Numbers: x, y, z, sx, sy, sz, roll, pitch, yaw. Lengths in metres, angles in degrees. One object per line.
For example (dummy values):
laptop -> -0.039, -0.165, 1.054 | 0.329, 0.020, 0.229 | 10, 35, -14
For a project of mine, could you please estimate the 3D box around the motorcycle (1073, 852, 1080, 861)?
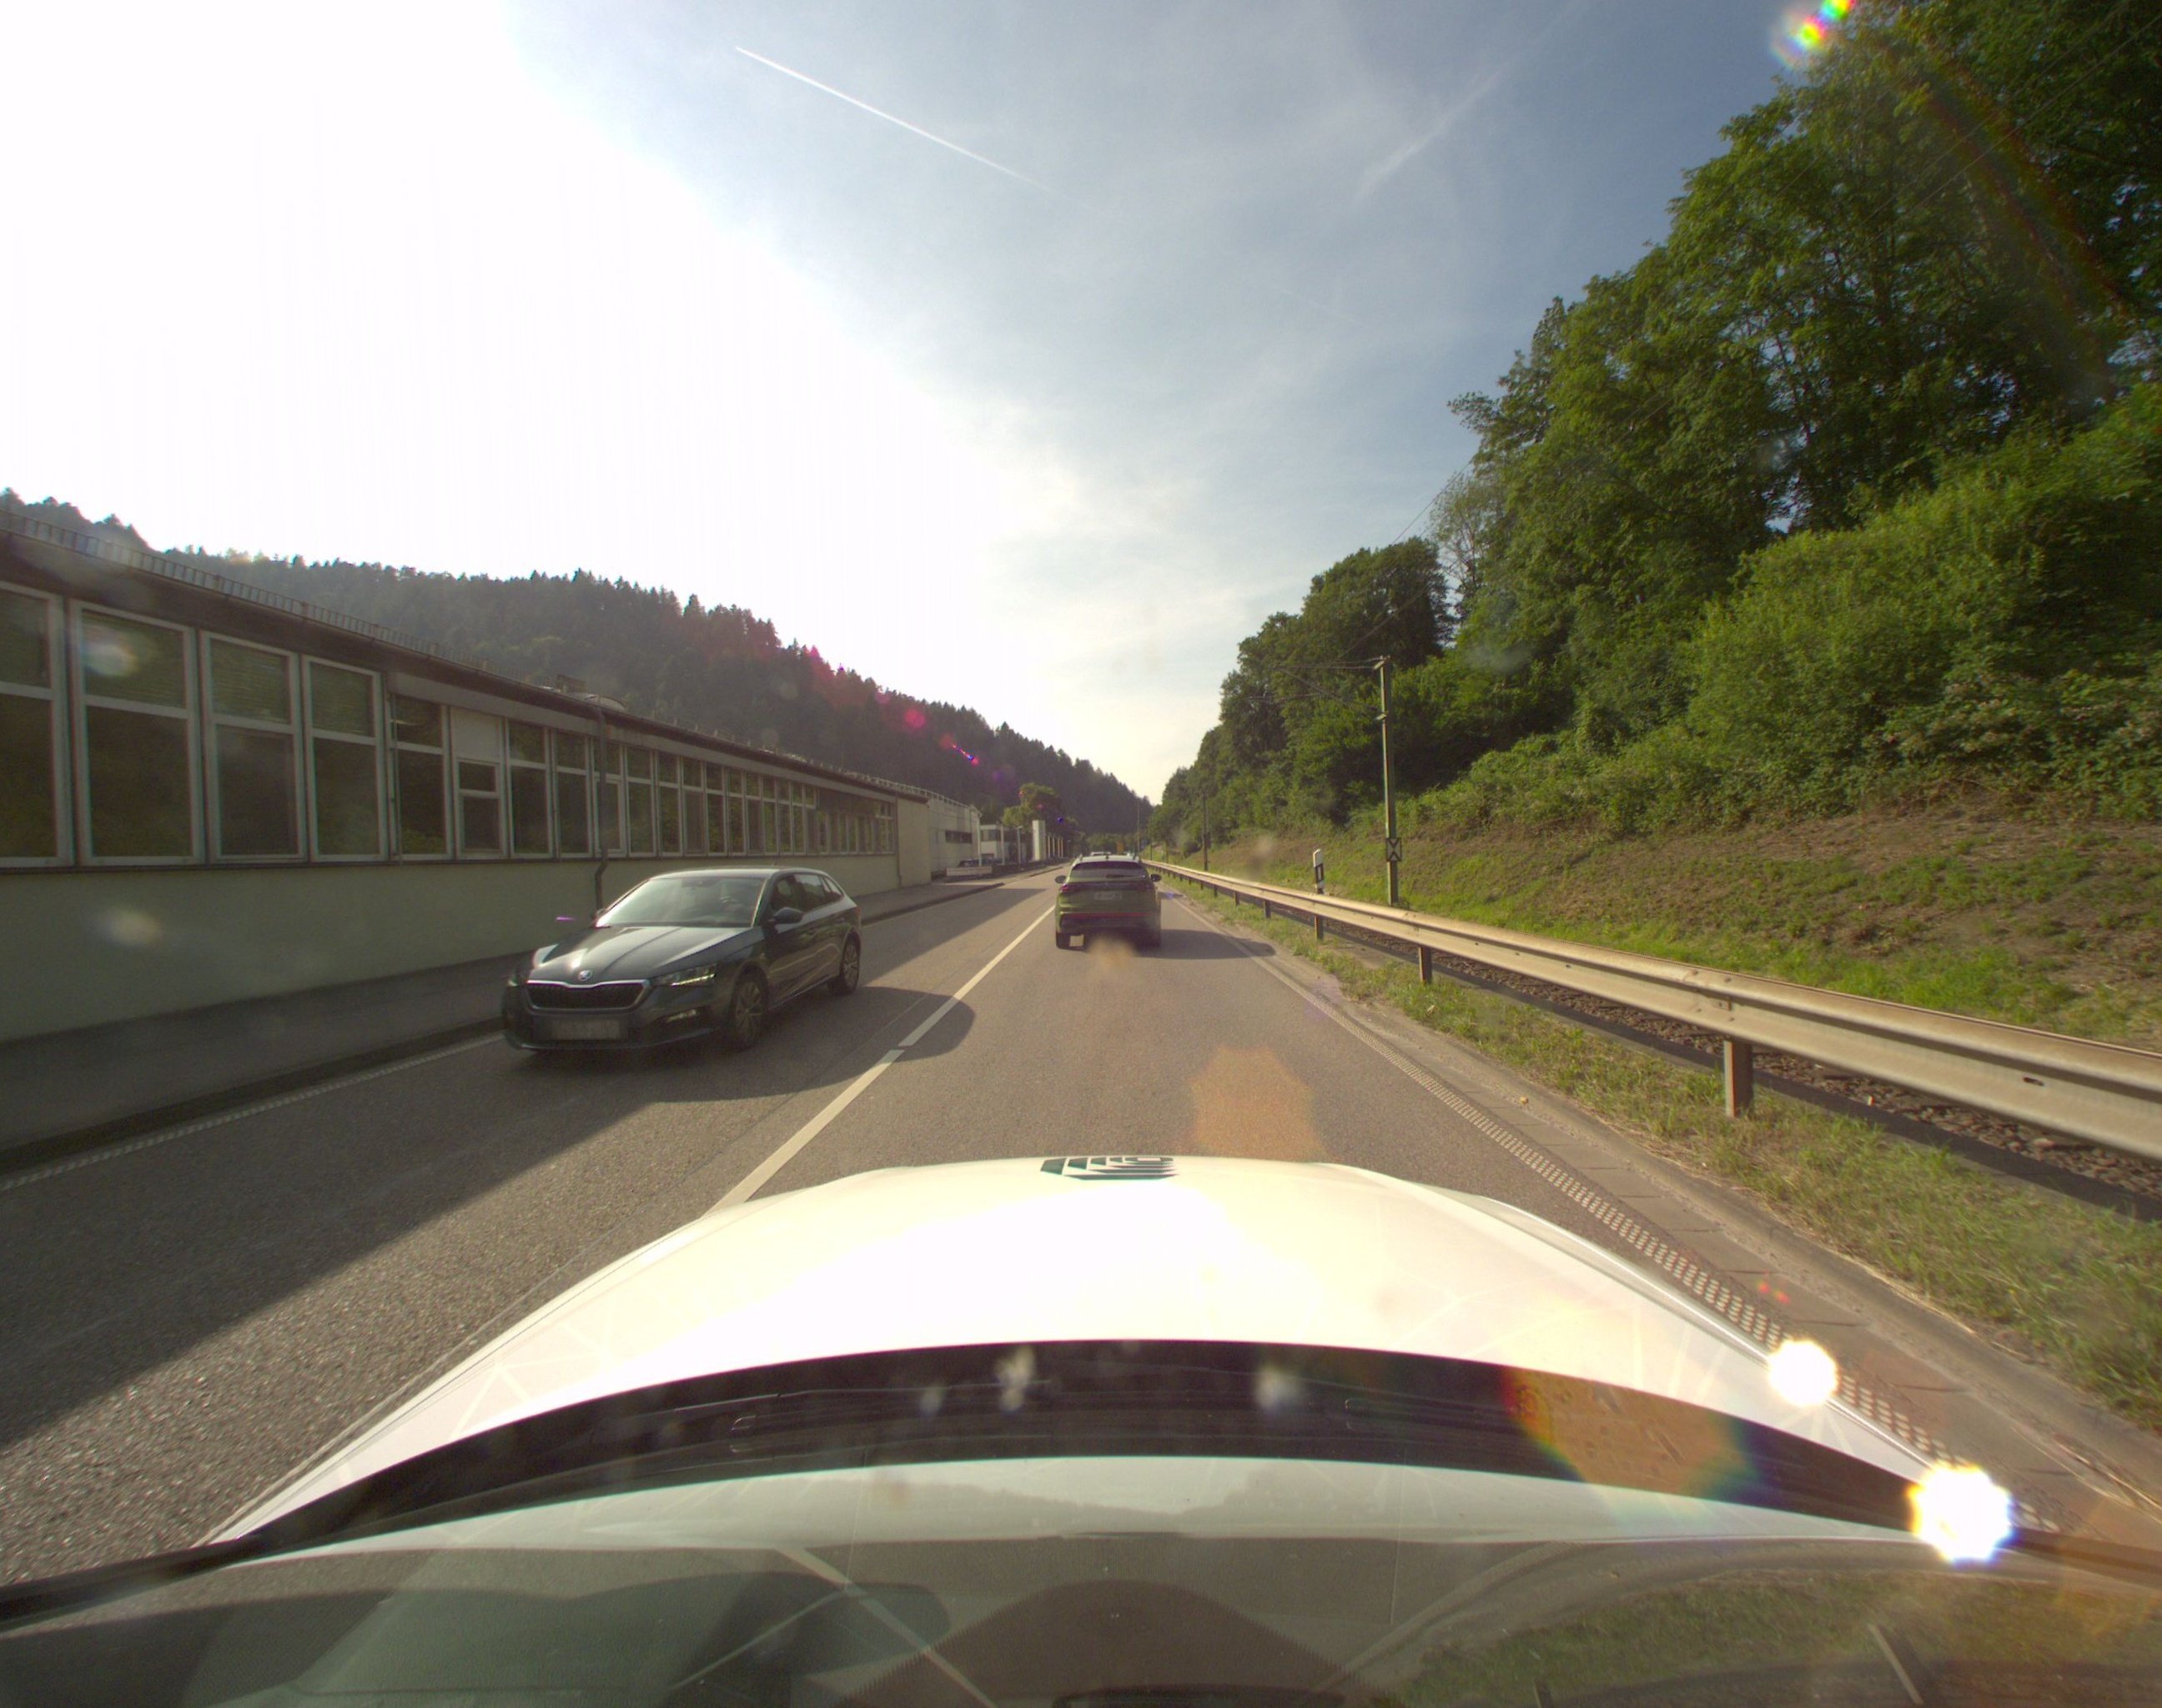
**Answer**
motorcycle -> -0.515, 0.273, 101.304 | 0.738, 1.068, 2.493 | -2, 0, 2

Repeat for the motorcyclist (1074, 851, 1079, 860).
motorcyclist -> -0.587, 0.158, 101.253 | 0.583, 1.124, 0.637 | -1, 0, 2

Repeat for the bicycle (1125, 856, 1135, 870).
bicycle -> 4.357, 0.799, 72.581 | 0.809, 1.250, 2.122 | -2, 0, 0

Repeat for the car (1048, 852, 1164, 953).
car -> 0.426, 0.741, 14.391 | 1.733, 1.508, 4.001 | -1, 0, 1

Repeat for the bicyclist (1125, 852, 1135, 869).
bicyclist -> 4.354, 0.572, 72.315 | 0.779, 1.412, 0.675 | -2, 0, 0

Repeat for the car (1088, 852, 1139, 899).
car -> 1.164, 0.739, 29.900 | 1.733, 1.602, 4.001 | -1, 0, 1

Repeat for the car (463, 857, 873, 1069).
car -> -3.479, 0.792, 7.854 | 1.767, 1.490, 4.053 | 0, 0, 2

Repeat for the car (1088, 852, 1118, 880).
car -> 1.311, 0.724, 49.763 | 1.733, 1.602, 4.001 | -1, 0, 1

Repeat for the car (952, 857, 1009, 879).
car -> -7.858, 1.055, 63.934 | 1.865, 1.592, 4.200 | -2, 0, 43

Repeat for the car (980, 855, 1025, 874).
car -> -7.604, 1.022, 79.104 | 1.759, 1.708, 4.135 | -2, 0, 43
